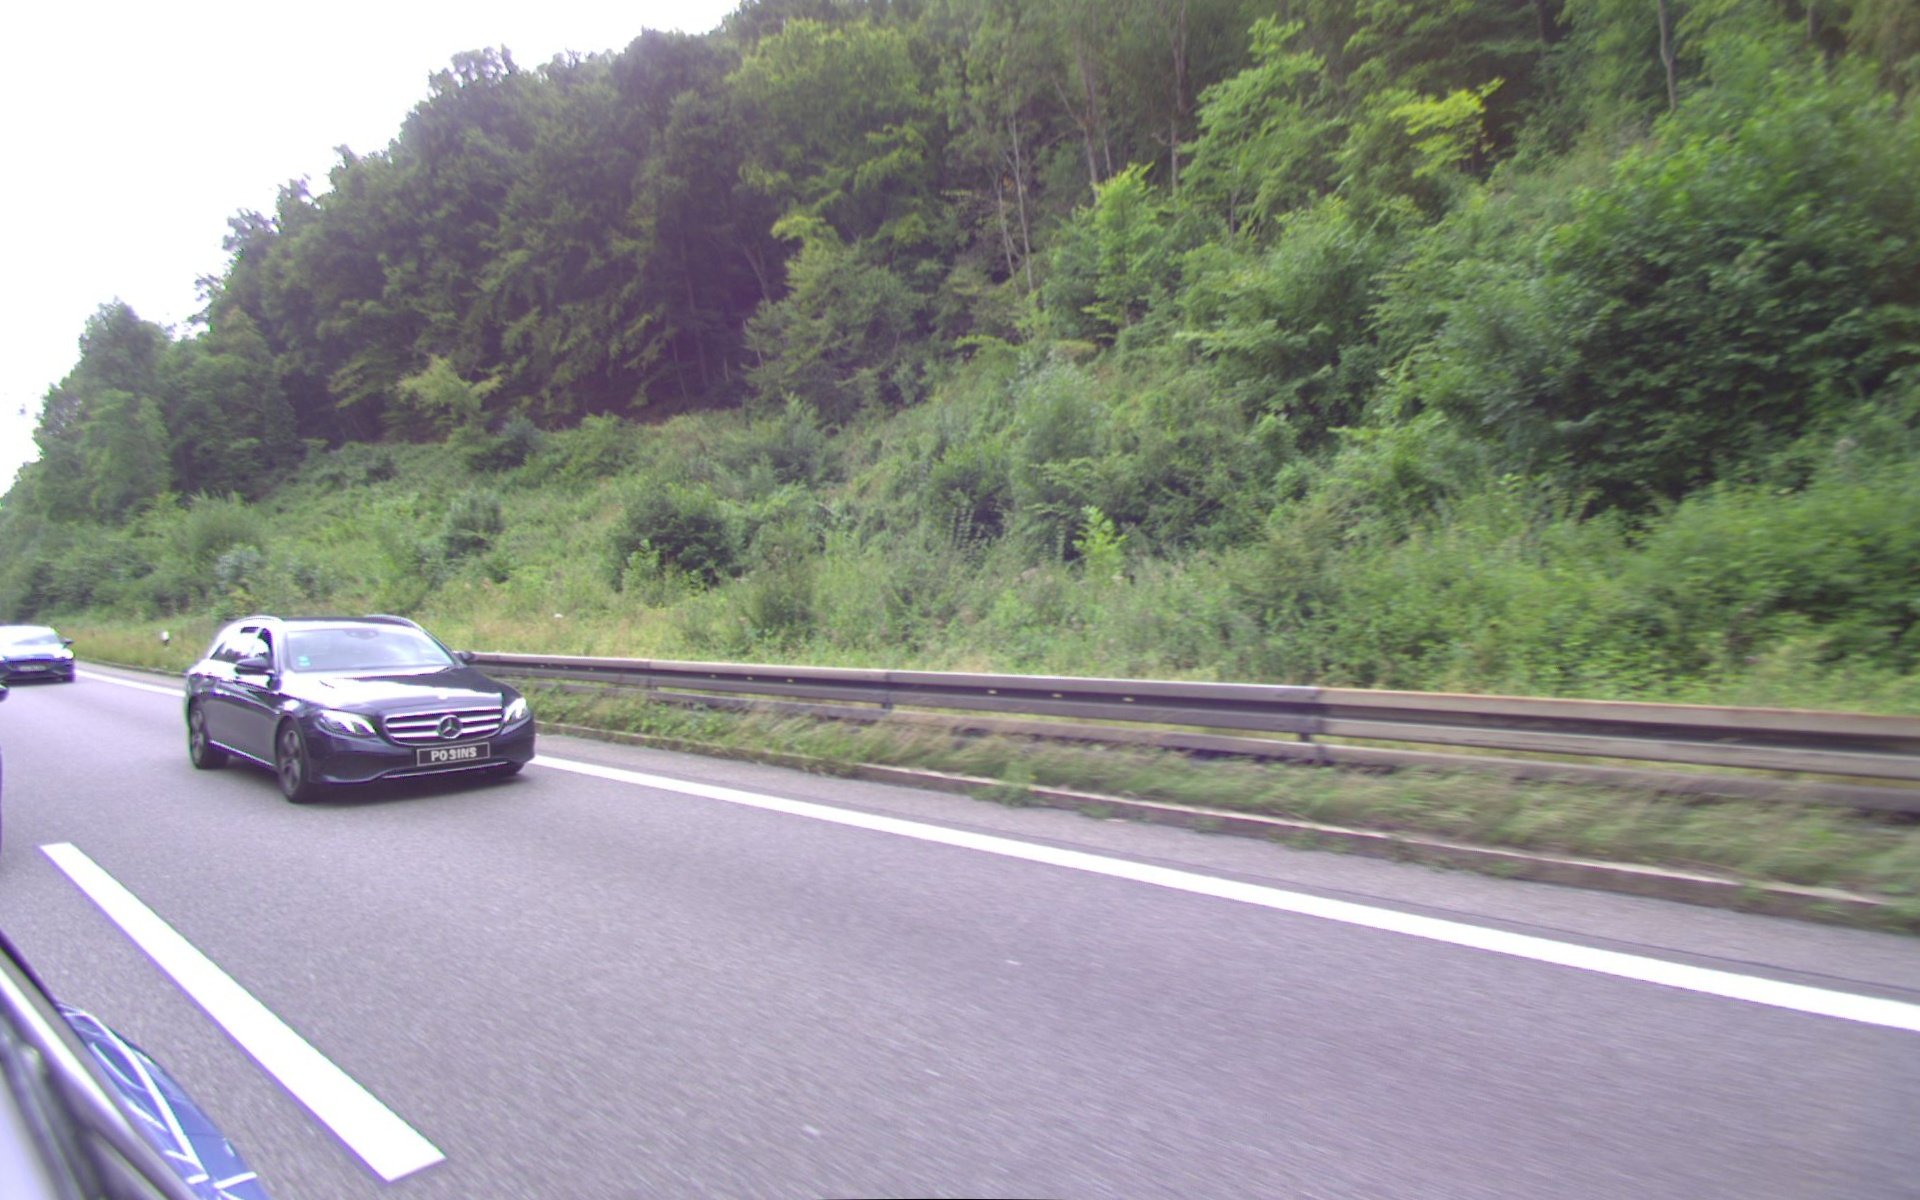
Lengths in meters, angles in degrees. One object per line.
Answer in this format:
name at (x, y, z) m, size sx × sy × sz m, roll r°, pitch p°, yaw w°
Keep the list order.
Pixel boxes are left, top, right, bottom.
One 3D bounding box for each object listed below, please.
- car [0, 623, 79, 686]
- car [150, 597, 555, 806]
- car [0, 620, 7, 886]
car at (-24.225, 1.353, 25.923) m, size 4.551 × 1.480 × 1.817 m, roll -1°, pitch -1°, yaw 40°
car at (-5.938, 0.801, 9.552) m, size 5.119 × 1.474 × 1.743 m, roll -2°, pitch -1°, yaw 41°
car at (-7.364, 0.862, 6.257) m, size 4.399 × 1.428 × 1.728 m, roll -1°, pitch 0°, yaw 41°
